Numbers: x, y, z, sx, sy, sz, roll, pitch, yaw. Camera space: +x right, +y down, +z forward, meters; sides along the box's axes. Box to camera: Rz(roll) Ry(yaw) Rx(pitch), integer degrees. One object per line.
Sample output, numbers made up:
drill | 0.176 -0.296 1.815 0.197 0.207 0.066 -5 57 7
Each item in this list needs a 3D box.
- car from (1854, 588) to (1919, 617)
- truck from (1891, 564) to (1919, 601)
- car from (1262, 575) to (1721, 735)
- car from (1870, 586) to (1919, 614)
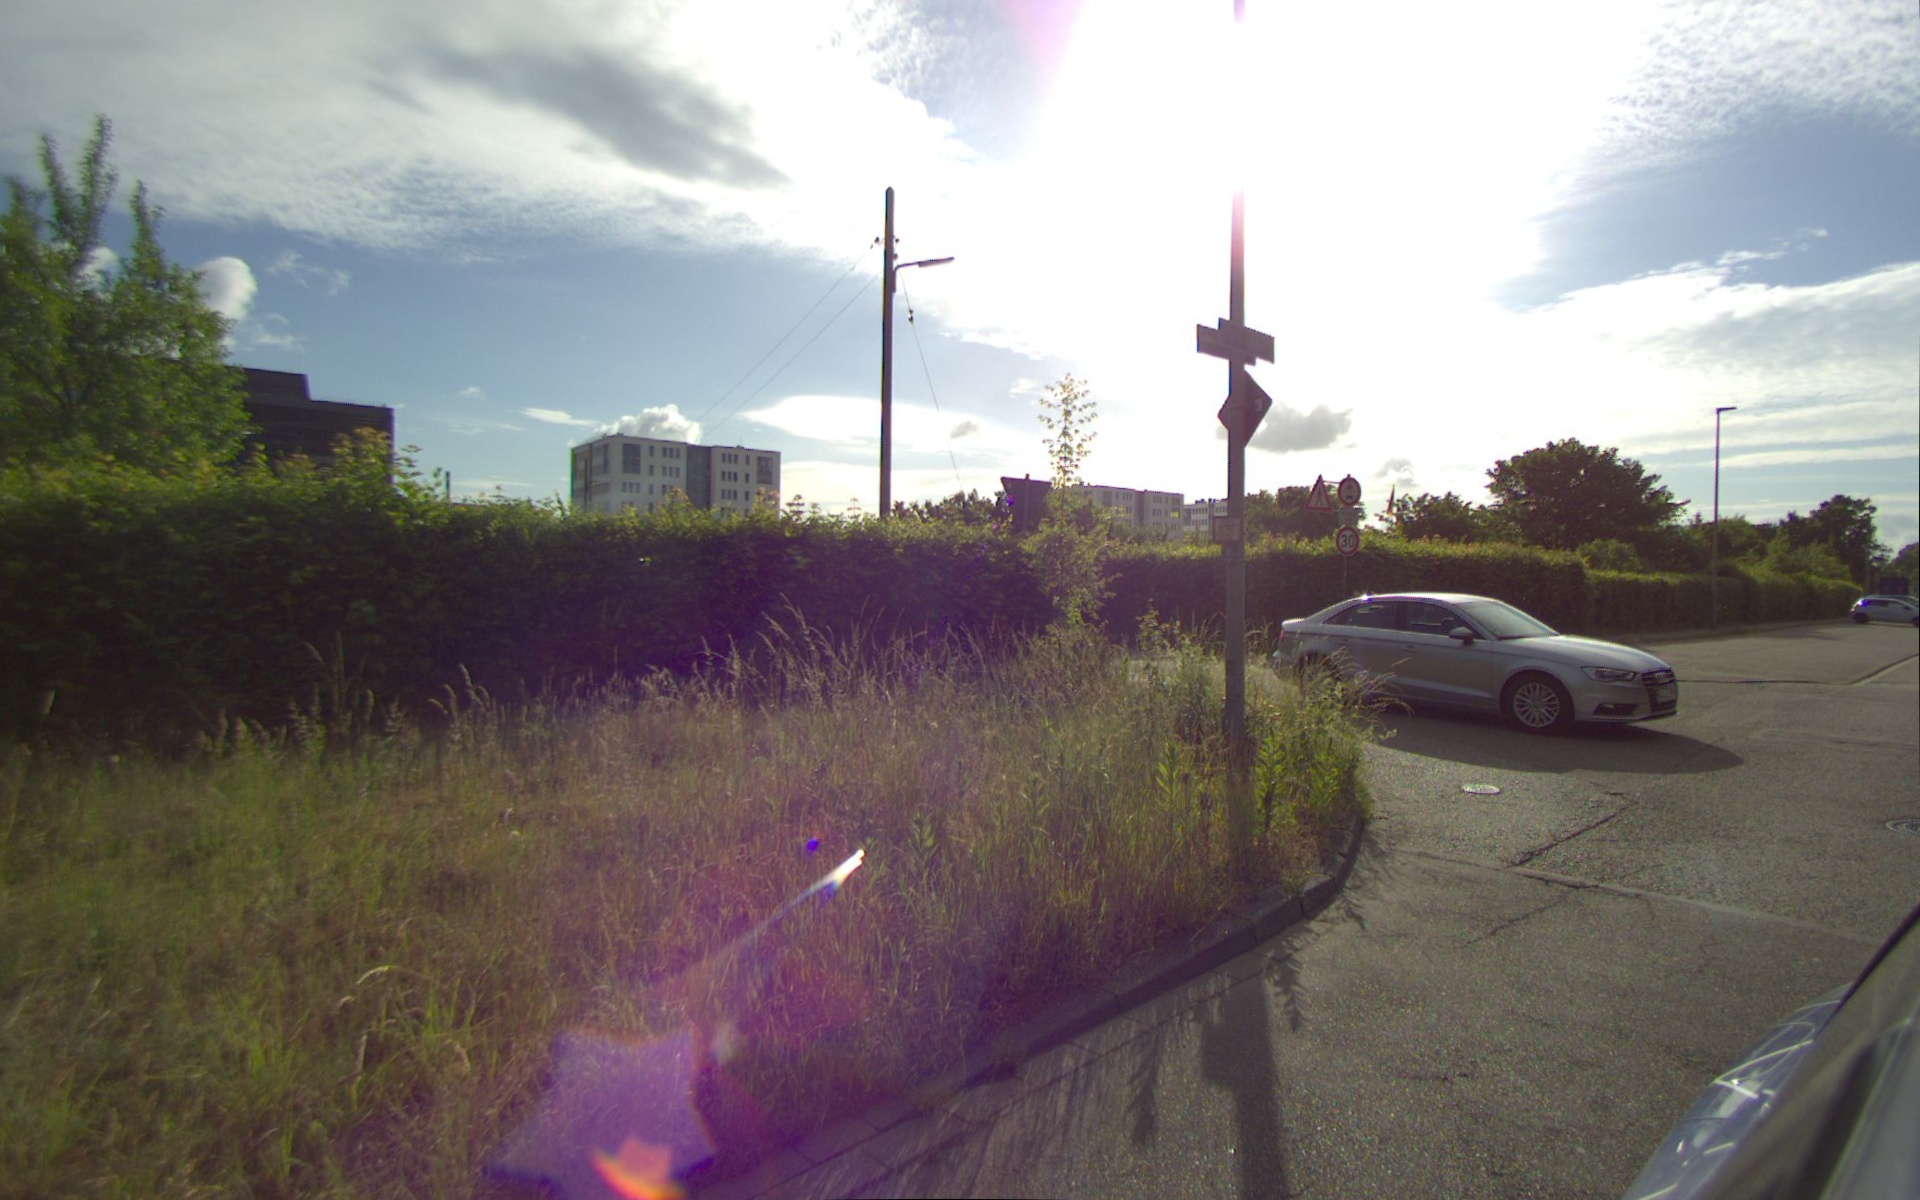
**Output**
car | 52.251 0.158 56.127 1.664 1.508 3.862 0 2 -43
truck | 106.745 -1.990 113.751 2.591 4.007 6.195 3 2 39
car | 5.914 0.459 11.799 1.896 1.461 4.378 -2 2 -34
car | 60.031 -0.016 63.212 1.733 1.720 4.594 -2 1 -42
